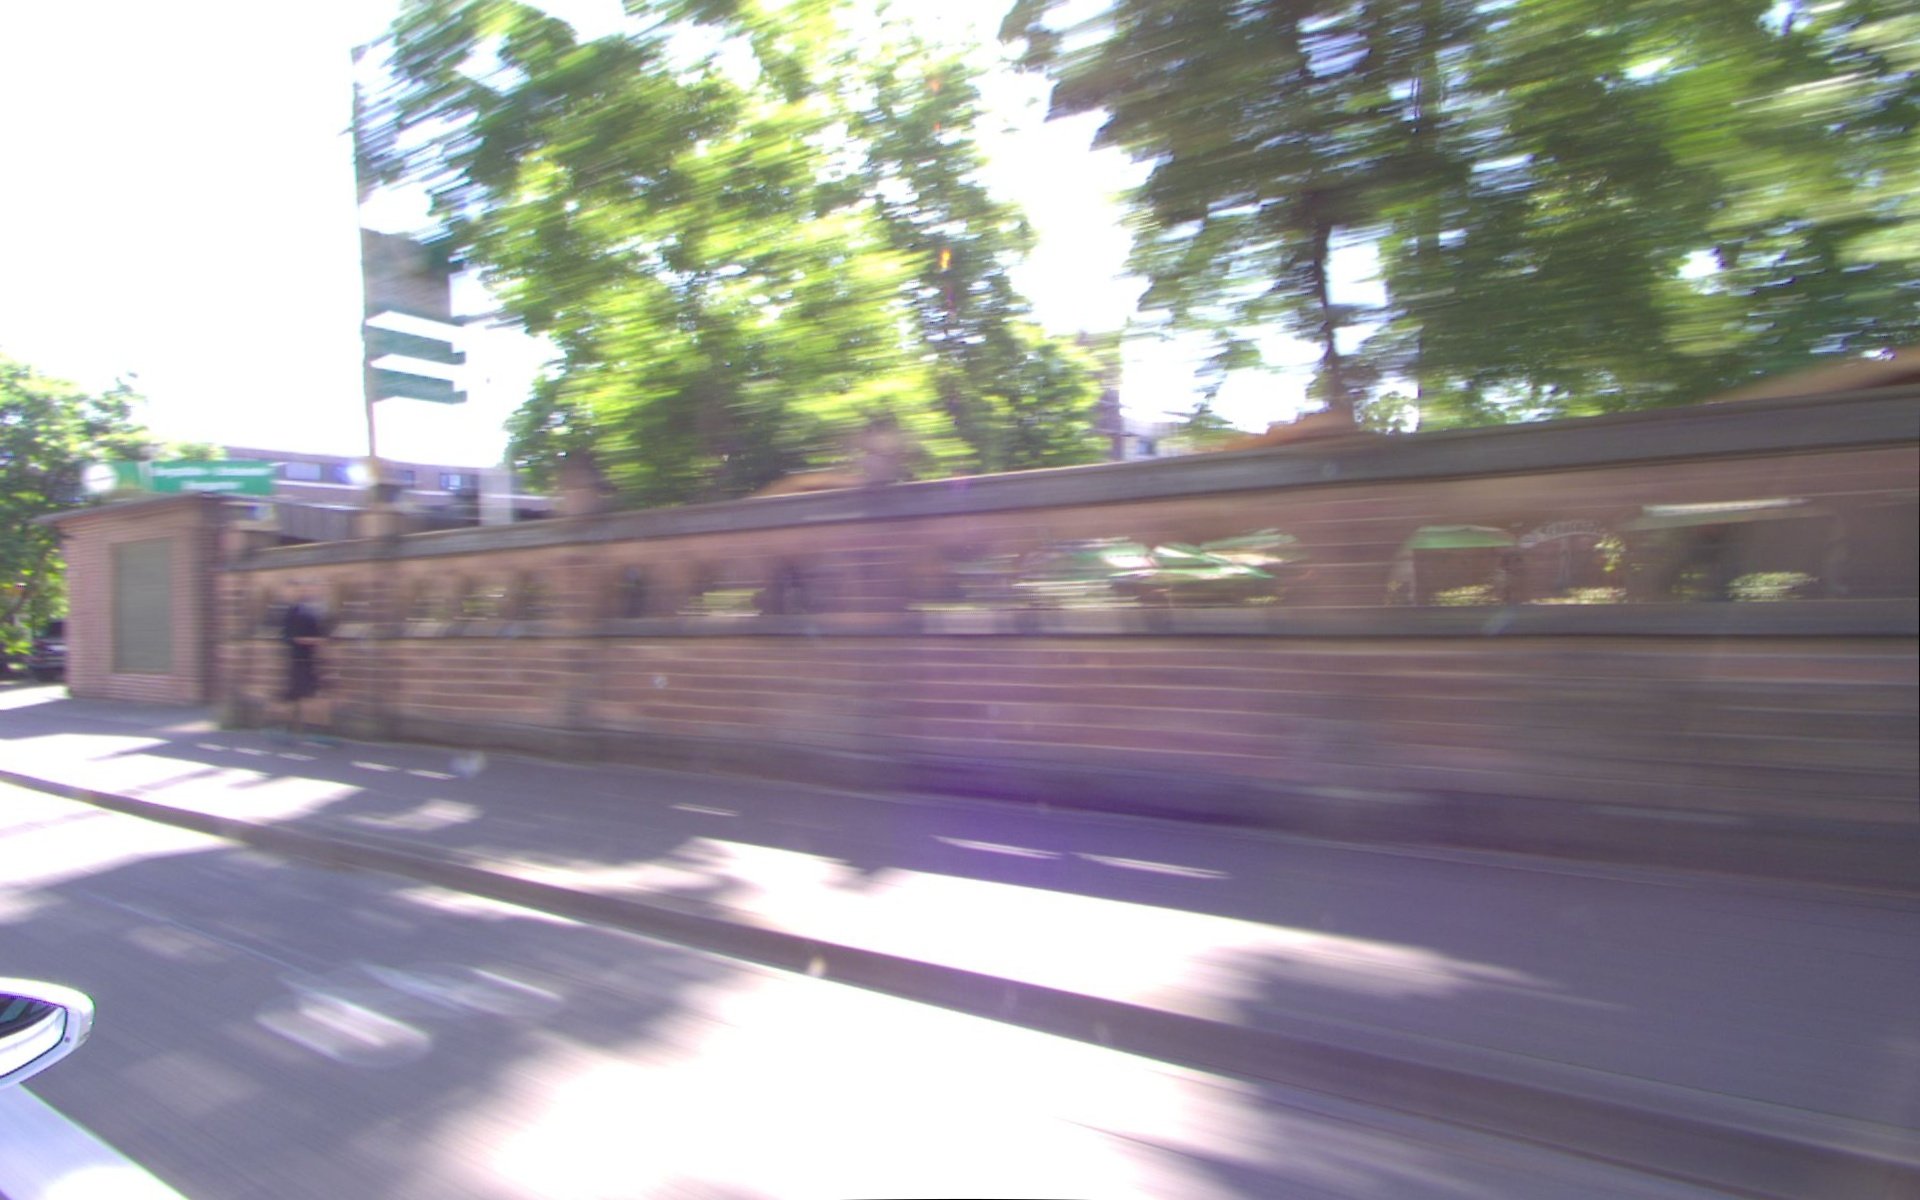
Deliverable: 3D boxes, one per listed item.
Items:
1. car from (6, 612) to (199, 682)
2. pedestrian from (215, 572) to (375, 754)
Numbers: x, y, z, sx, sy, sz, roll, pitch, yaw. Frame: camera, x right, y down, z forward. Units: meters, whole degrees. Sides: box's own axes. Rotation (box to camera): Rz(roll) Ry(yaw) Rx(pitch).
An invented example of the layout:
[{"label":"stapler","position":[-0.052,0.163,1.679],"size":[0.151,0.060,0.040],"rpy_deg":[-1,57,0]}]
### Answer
[{"label":"car","position":[-22.893,1.185,27.005],"size":[1.983,1.662,4.654],"rpy_deg":[-1,0,-13]},{"label":"pedestrian","position":[-7.333,0.653,11.056],"size":[1.168,1.841,0.973],"rpy_deg":[-1,4,33]}]
